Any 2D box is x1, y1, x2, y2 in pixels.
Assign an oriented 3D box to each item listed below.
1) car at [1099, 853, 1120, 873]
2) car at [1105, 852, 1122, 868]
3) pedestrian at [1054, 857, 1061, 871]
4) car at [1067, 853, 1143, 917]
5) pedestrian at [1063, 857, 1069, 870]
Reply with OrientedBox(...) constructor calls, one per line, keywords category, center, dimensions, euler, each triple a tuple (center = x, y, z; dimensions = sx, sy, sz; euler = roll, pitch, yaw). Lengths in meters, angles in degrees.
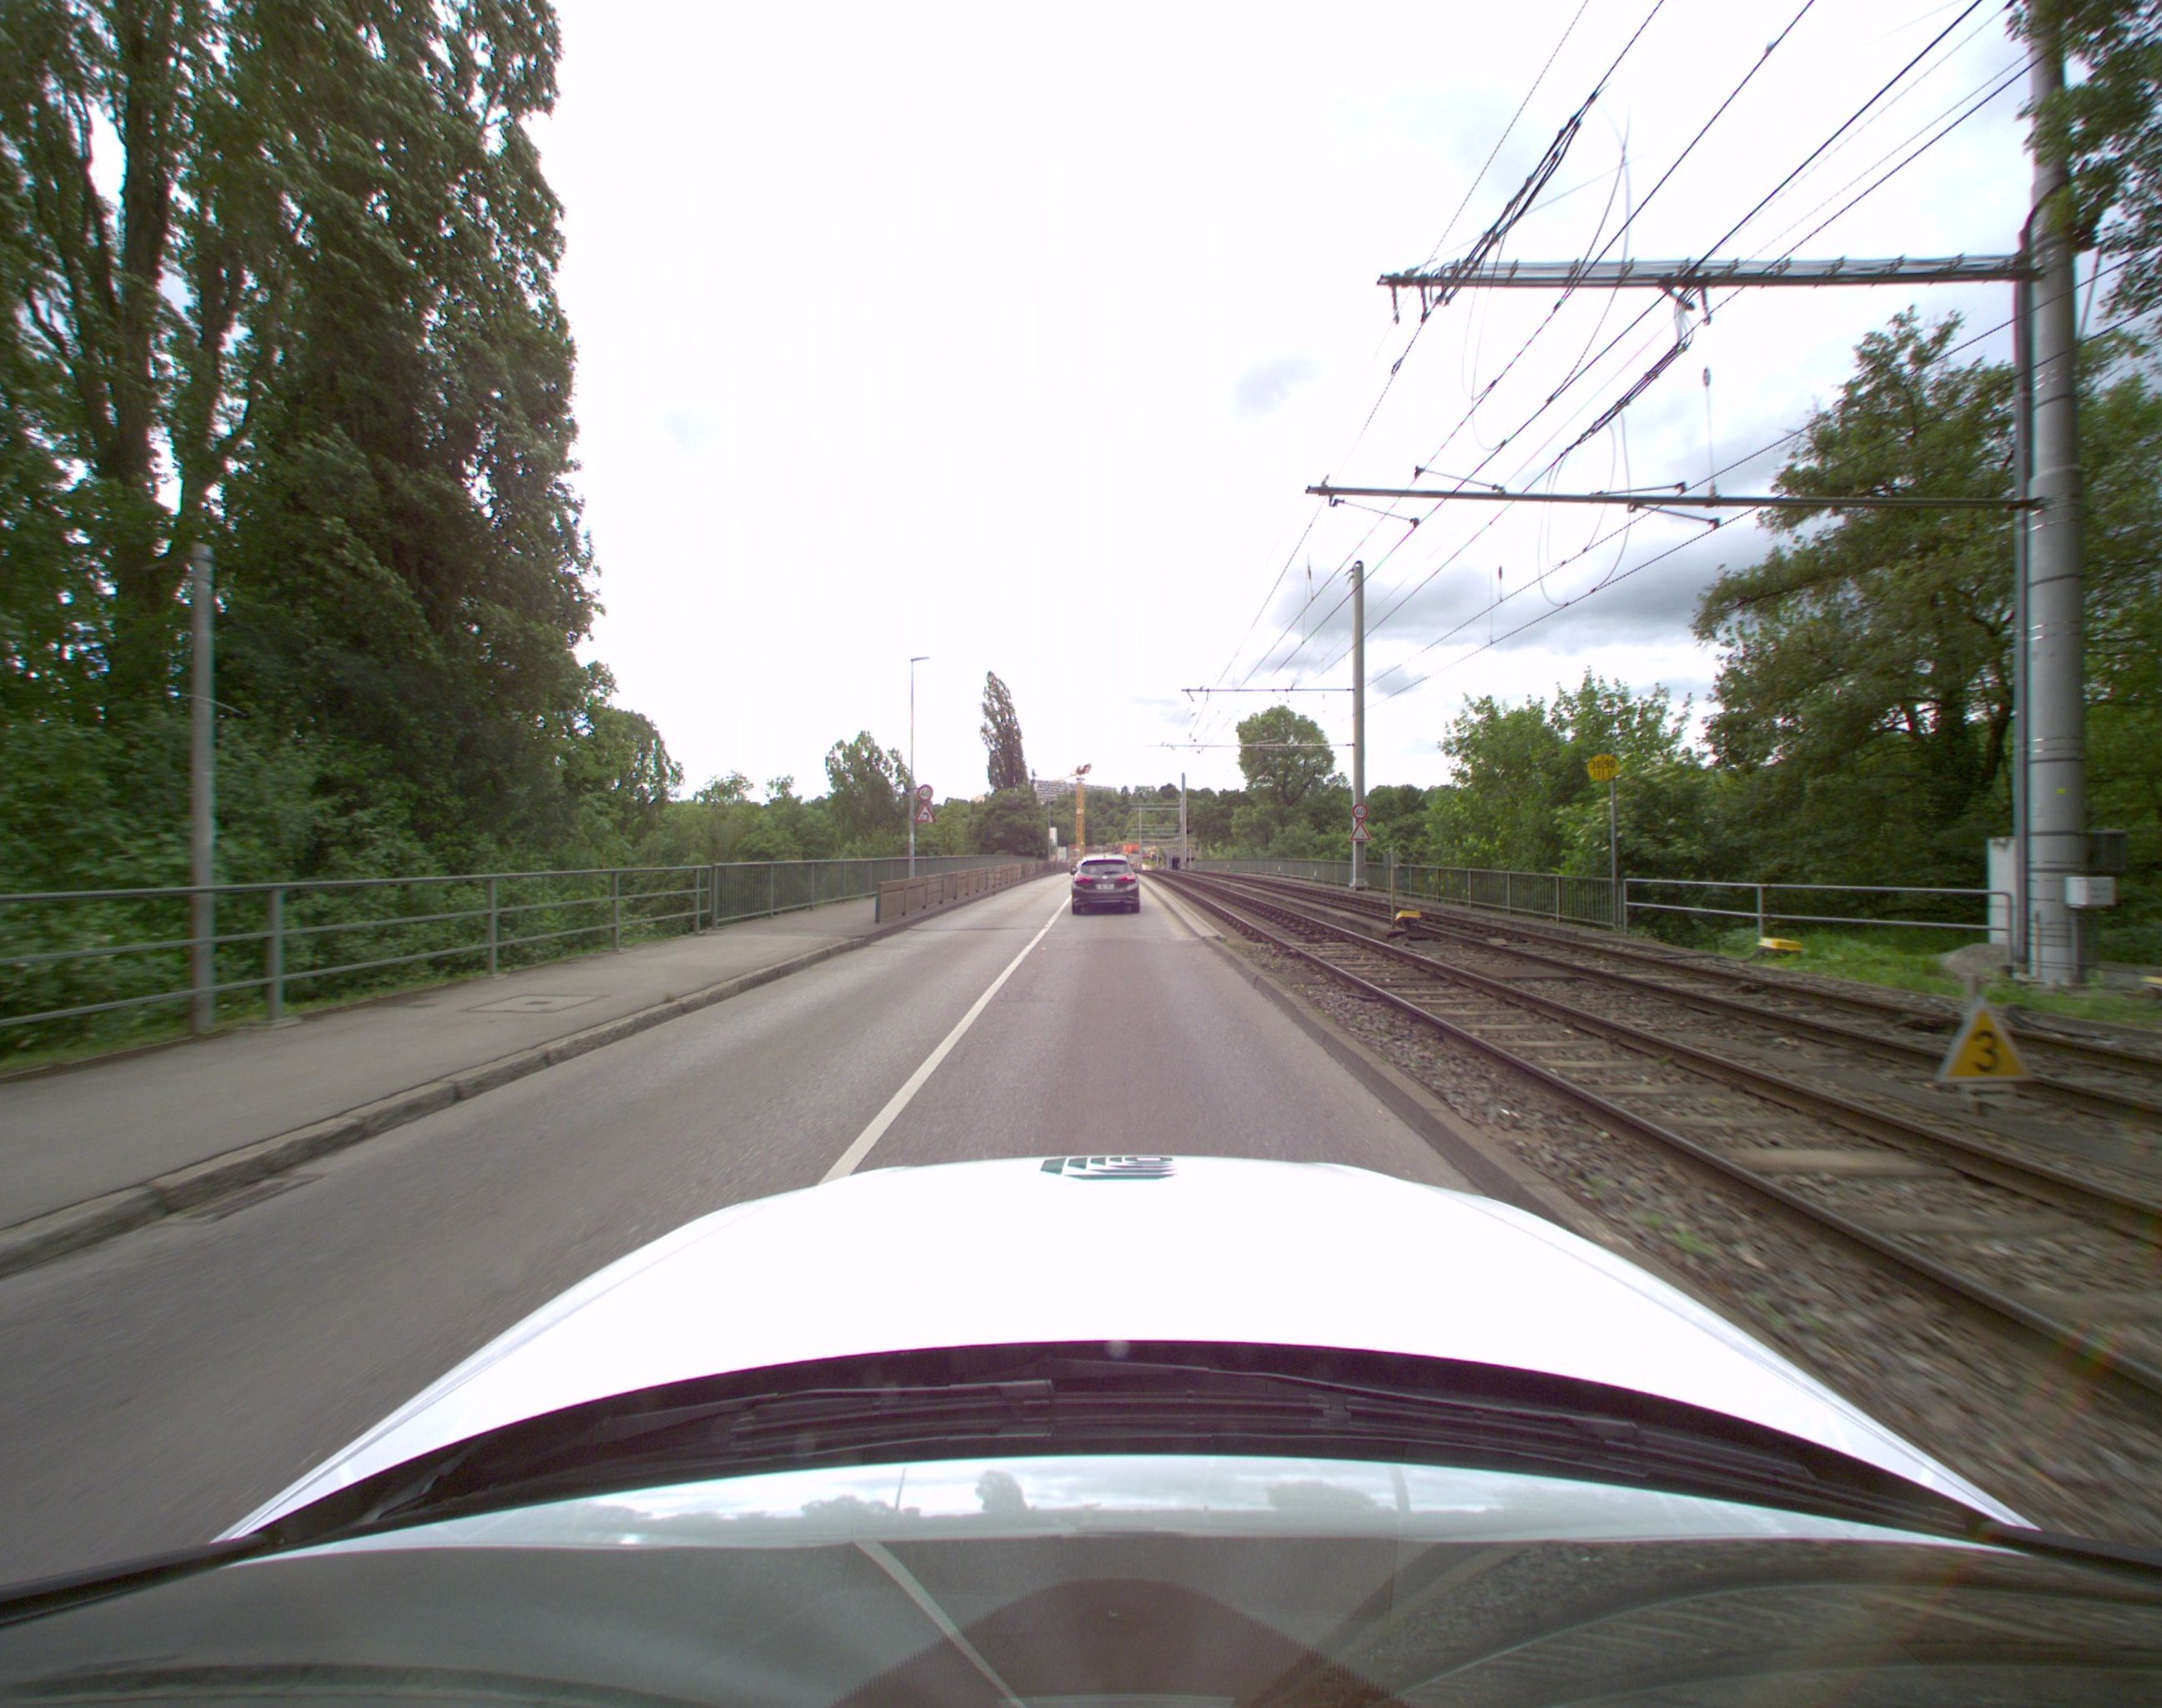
OrientedBox(category="car", center=(2.489, 0.769, 70.676), dimensions=(1.673, 1.606, 4.313), euler=(-2, 0, 3))
OrientedBox(category="car", center=(3.614, 0.653, 91.055), dimensions=(1.674, 1.606, 4.309), euler=(-2, 0, 1))
OrientedBox(category="pedestrian", center=(-3.024, 1.323, 104.912), dimensions=(0.718, 1.840, 0.723), euler=(-1, -1, 1))
OrientedBox(category="car", center=(0.573, 0.761, 22.297), dimensions=(1.825, 1.510, 3.998), euler=(-1, 1, -2))
OrientedBox(category="pedestrian", center=(-1.890, 1.238, 104.035), dimensions=(0.718, 1.701, 0.723), euler=(-1, -1, 1))
